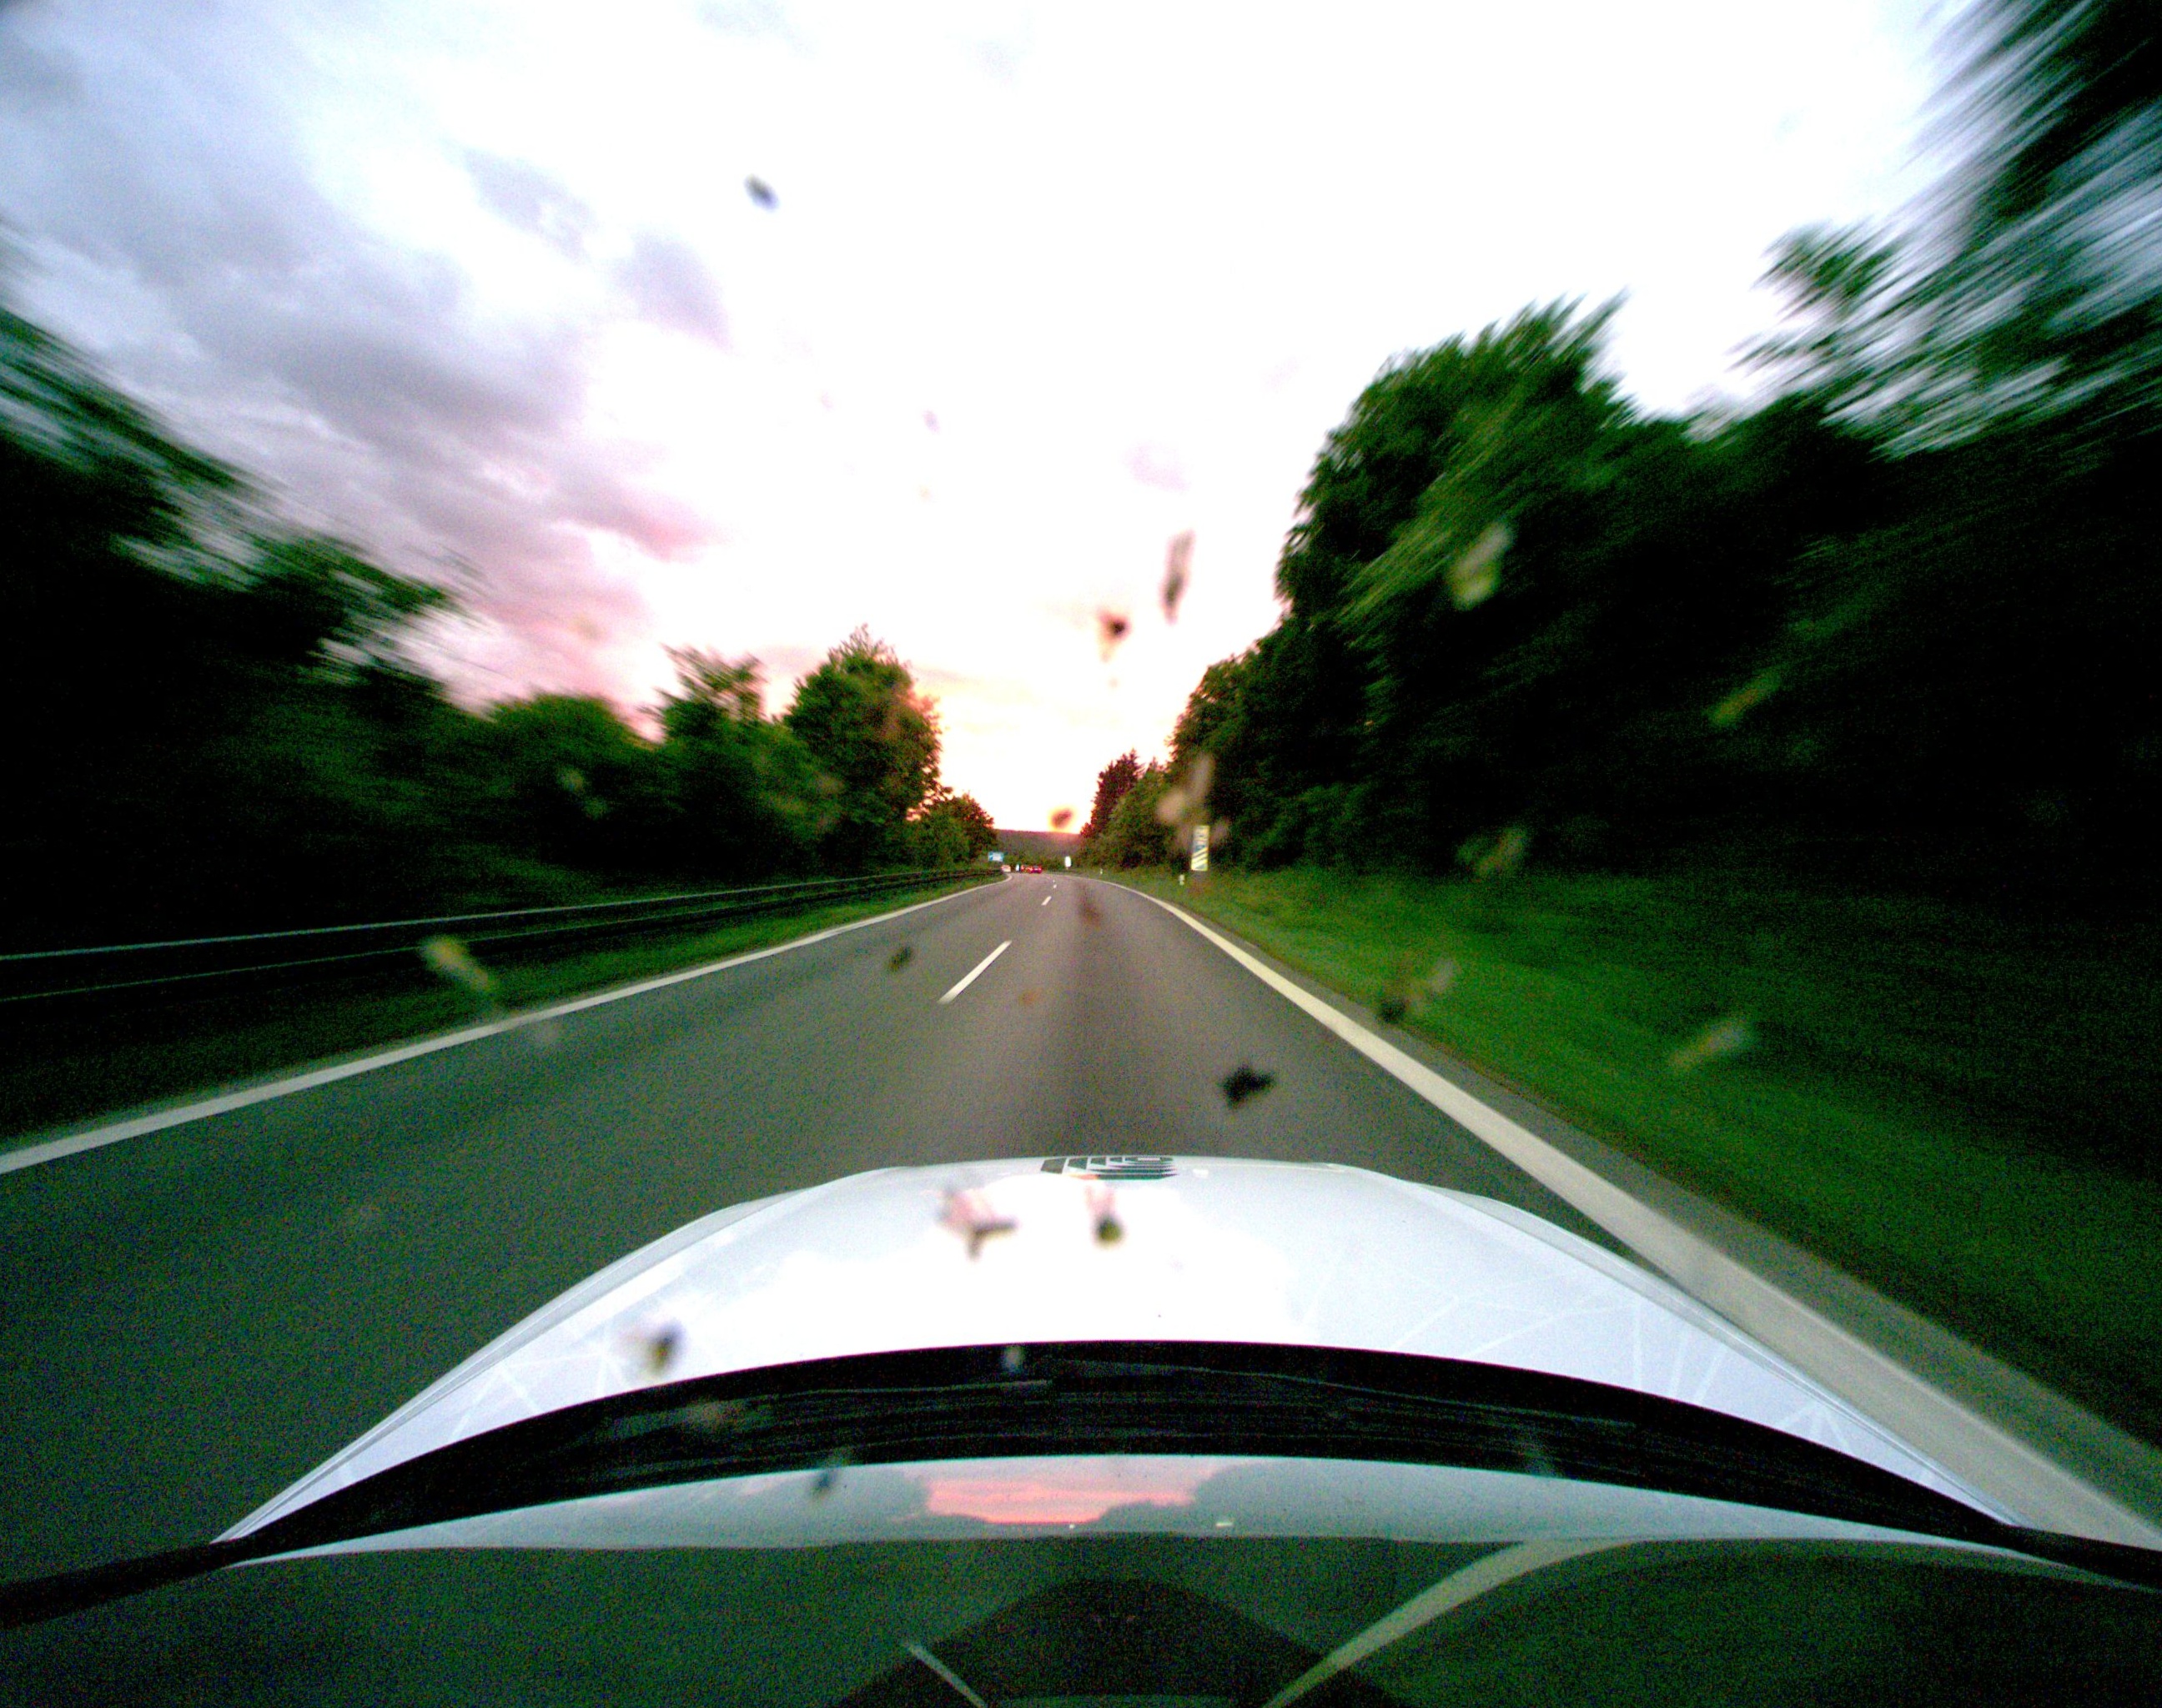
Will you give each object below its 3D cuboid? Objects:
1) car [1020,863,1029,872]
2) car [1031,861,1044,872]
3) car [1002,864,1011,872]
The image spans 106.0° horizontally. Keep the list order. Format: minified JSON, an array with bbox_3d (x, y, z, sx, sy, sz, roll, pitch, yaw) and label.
[{"bbox_3d":[-11.415,2.756,164.713,1.716,1.635,3.992,0,-1,-5],"label":"car"},{"bbox_3d":[-7.658,2.290,143.399,1.990,1.646,3.991,4,-4,-5],"label":"car"},{"bbox_3d":[-14.680,2.713,160.597,1.714,1.502,3.994,2,-2,-3],"label":"car"}]
